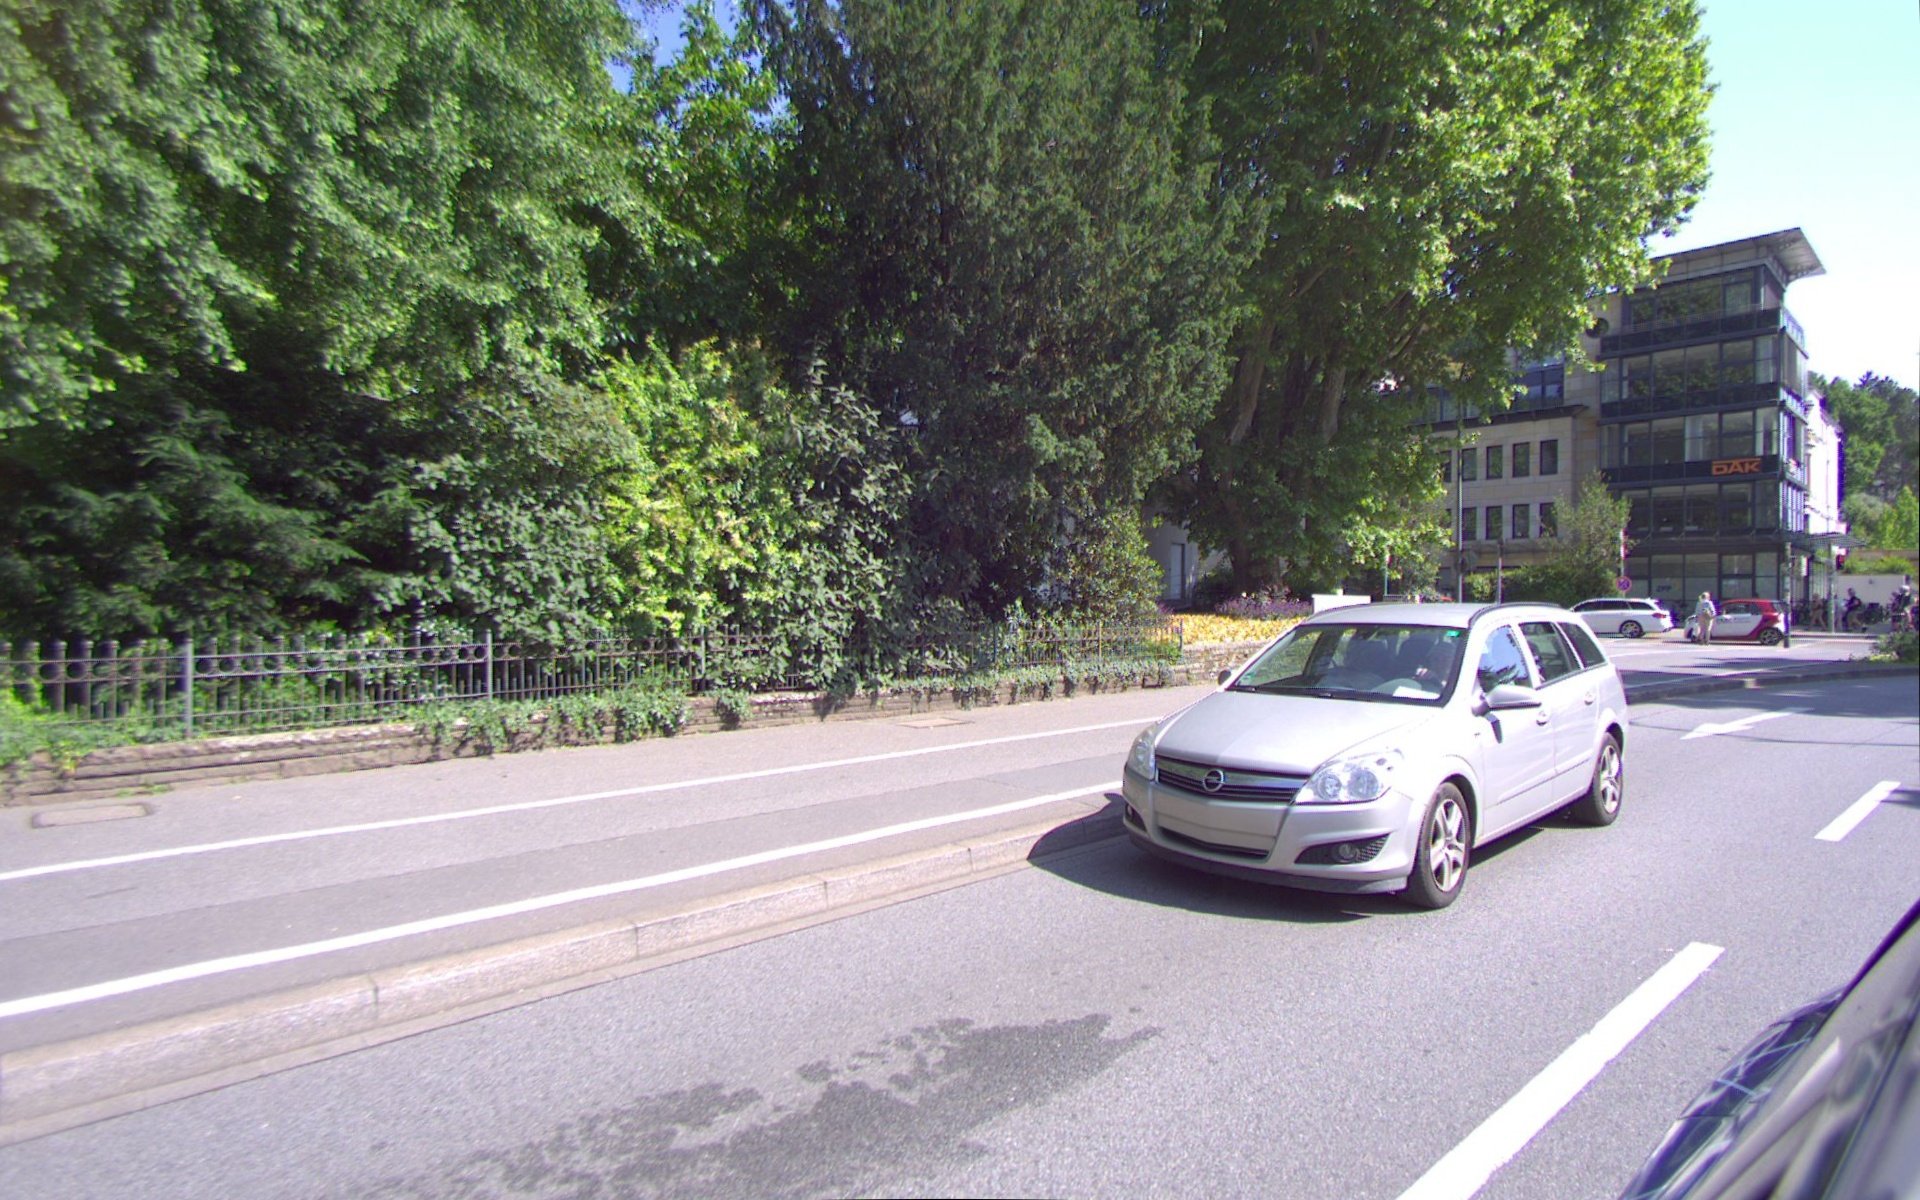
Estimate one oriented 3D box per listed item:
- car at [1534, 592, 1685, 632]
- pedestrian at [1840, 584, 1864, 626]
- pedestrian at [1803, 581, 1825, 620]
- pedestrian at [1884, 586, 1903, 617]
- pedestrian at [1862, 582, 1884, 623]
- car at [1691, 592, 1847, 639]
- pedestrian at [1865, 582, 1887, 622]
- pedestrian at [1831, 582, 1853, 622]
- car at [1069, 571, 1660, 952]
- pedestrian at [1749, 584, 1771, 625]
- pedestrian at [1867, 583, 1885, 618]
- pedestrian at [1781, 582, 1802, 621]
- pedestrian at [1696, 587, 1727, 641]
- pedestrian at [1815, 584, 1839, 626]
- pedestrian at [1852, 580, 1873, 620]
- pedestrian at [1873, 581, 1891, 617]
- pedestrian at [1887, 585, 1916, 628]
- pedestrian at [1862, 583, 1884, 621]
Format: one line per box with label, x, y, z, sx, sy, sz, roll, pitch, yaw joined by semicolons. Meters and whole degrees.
car;24.960;0.452;38.993;4.669;1.470;1.784;0;0;42
pedestrian;37.275;0.222;42.278;0.677;1.727;0.604;0;-1;-36
pedestrian;38.070;0.012;45.124;0.593;1.727;0.602;0;-1;-37
pedestrian;49.674;0.068;53.857;0.592;1.617;0.603;0;-1;-34
pedestrian;39.430;0.113;43.720;0.593;1.727;0.602;0;-1;-37
car;26.781;0.499;33.580;3.938;1.470;1.784;-1;-1;42
pedestrian;40.376;0.095;44.609;0.593;1.727;0.602;0;-1;-37
pedestrian;38.649;0.075;44.323;0.593;1.727;0.602;0;-1;-37
car;2.731;0.673;6.223;4.332;1.541;1.709;1;-1;-43
pedestrian;34.527;0.187;43.688;0.688;1.727;0.593;-1;-1;43
pedestrian;45.615;0.006;50.400;0.594;1.727;0.601;0;-1;-42
pedestrian;37.271;0.080;45.356;0.593;1.727;0.602;0;-1;-37
pedestrian;23.756;0.427;31.980;0.709;1.694;0.526;0;0;45
pedestrian;36.145;0.223;42.201;0.634;1.727;0.653;0;-1;-39
pedestrian;39.879;-0.009;44.720;0.593;1.727;0.602;0;-1;-37
pedestrian;44.218;-0.055;48.532;0.594;1.727;0.601;0;-1;-42
pedestrian;37.711;0.261;40.536;0.591;1.727;0.702;0;-1;-32
pedestrian;41.718;0.103;46.233;0.716;1.727;0.602;0;-1;-37
